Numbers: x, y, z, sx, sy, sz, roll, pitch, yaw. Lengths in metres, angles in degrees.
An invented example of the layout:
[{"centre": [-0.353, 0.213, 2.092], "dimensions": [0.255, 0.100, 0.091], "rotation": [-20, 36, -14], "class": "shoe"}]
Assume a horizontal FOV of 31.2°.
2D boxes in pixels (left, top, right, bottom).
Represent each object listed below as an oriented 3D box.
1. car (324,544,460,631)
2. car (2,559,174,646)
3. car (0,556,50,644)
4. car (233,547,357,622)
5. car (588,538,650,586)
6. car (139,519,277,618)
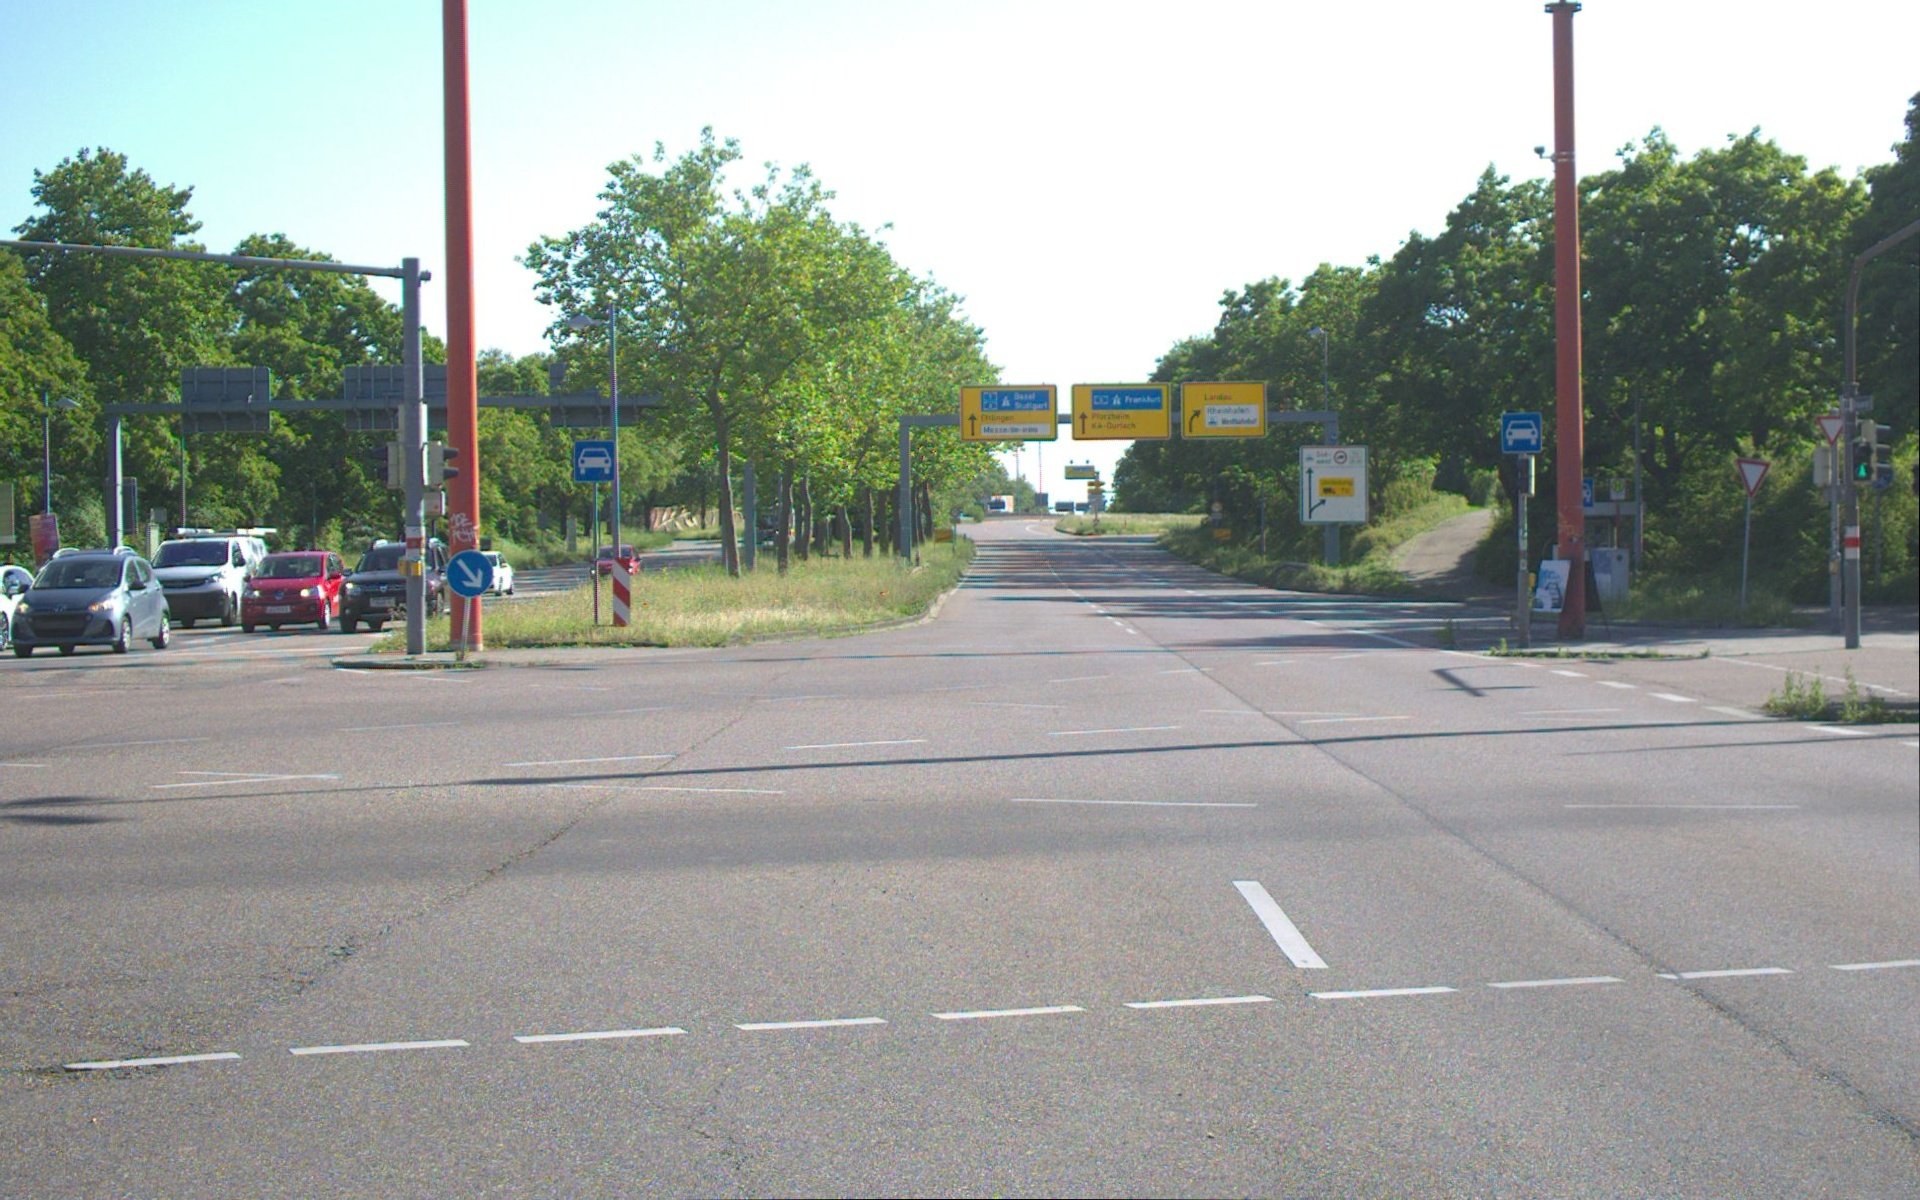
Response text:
[{"centre": [-10.208, -0.258, 62.010], "dimensions": [1.819, 1.503, 4.000], "rotation": [-1, 1, -1], "class": "car"}, {"centre": [-13.116, 0.018, 51.902], "dimensions": [1.739, 1.239, 3.613], "rotation": [-1, 1, -1], "class": "car"}, {"centre": [-16.424, -0.014, 57.048], "dimensions": [1.739, 1.406, 3.613], "rotation": [-1, 1, -1], "class": "car"}, {"centre": [-12.666, -0.314, 65.648], "dimensions": [1.739, 1.357, 3.613], "rotation": [-1, 1, -1], "class": "car"}, {"centre": [-11.892, -1.351, 120.097], "dimensions": [1.819, 1.623, 4.000], "rotation": [-1, 1, -1], "class": "car"}, {"centre": [-15.856, -0.685, 72.737], "dimensions": [1.893, 2.019, 5.224], "rotation": [0, 1, -1], "class": "car"}]
